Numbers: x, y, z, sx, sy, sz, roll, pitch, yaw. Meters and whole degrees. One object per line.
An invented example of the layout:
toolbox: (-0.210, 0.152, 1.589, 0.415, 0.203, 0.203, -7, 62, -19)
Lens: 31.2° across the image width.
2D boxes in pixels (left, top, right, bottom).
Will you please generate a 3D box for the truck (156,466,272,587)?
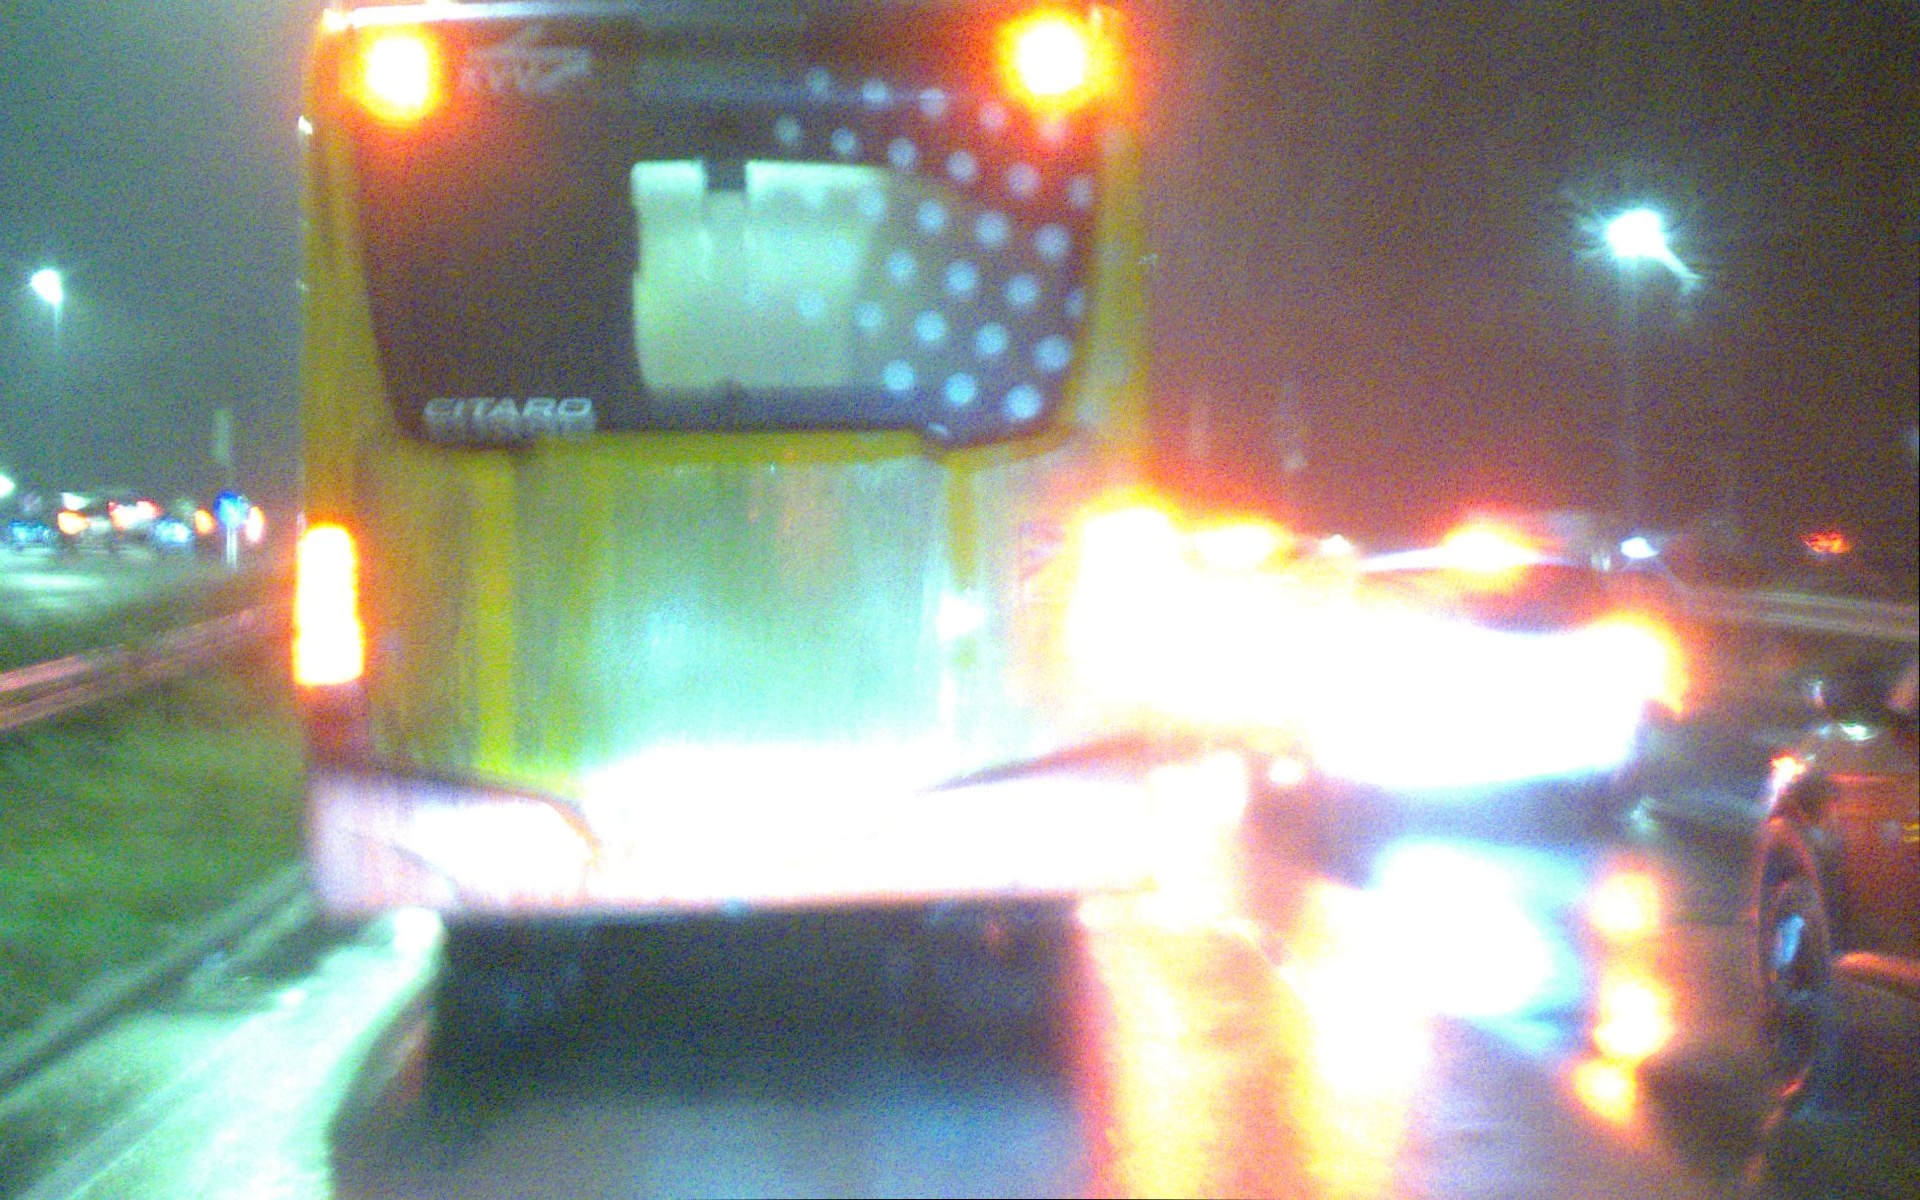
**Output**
truck: (-16.276, -1.651, 74.883, 1.855, 2.384, 4.781, -2, 4, -19)

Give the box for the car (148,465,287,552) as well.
car: (-18.122, -2.213, 83.802, 1.993, 2.007, 4.000, 2, 0, -33)

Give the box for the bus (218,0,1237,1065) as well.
bus: (-0.757, -0.289, 14.048, 2.815, 3.013, 8.688, 1, 1, -1)

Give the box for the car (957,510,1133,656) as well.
car: (0.923, -0.213, 39.196, 1.779, 1.538, 3.875, 1, 1, -1)

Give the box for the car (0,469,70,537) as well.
car: (-28.938, -3.005, 107.133, 2.120, 2.007, 4.001, 2, 0, -13)

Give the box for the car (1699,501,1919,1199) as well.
car: (2.955, 0.589, 7.330, 1.739, 1.559, 3.777, 1, 1, -3)

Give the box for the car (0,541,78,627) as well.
car: (-22.373, -0.398, 82.311, 1.993, 2.007, 4.001, 0, 1, -21)

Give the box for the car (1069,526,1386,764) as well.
car: (1.841, 0.265, 24.757, 1.819, 1.585, 3.777, 0, 1, -3)

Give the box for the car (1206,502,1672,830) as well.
car: (2.463, 0.285, 18.567, 1.819, 1.585, 3.777, 0, 1, -3)

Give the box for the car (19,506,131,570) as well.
car: (-23.399, -1.643, 90.854, 1.751, 1.625, 3.623, 2, 0, -33)

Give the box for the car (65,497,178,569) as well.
car: (-23.735, -1.900, 97.253, 1.993, 2.007, 4.000, 0, 1, -31)
